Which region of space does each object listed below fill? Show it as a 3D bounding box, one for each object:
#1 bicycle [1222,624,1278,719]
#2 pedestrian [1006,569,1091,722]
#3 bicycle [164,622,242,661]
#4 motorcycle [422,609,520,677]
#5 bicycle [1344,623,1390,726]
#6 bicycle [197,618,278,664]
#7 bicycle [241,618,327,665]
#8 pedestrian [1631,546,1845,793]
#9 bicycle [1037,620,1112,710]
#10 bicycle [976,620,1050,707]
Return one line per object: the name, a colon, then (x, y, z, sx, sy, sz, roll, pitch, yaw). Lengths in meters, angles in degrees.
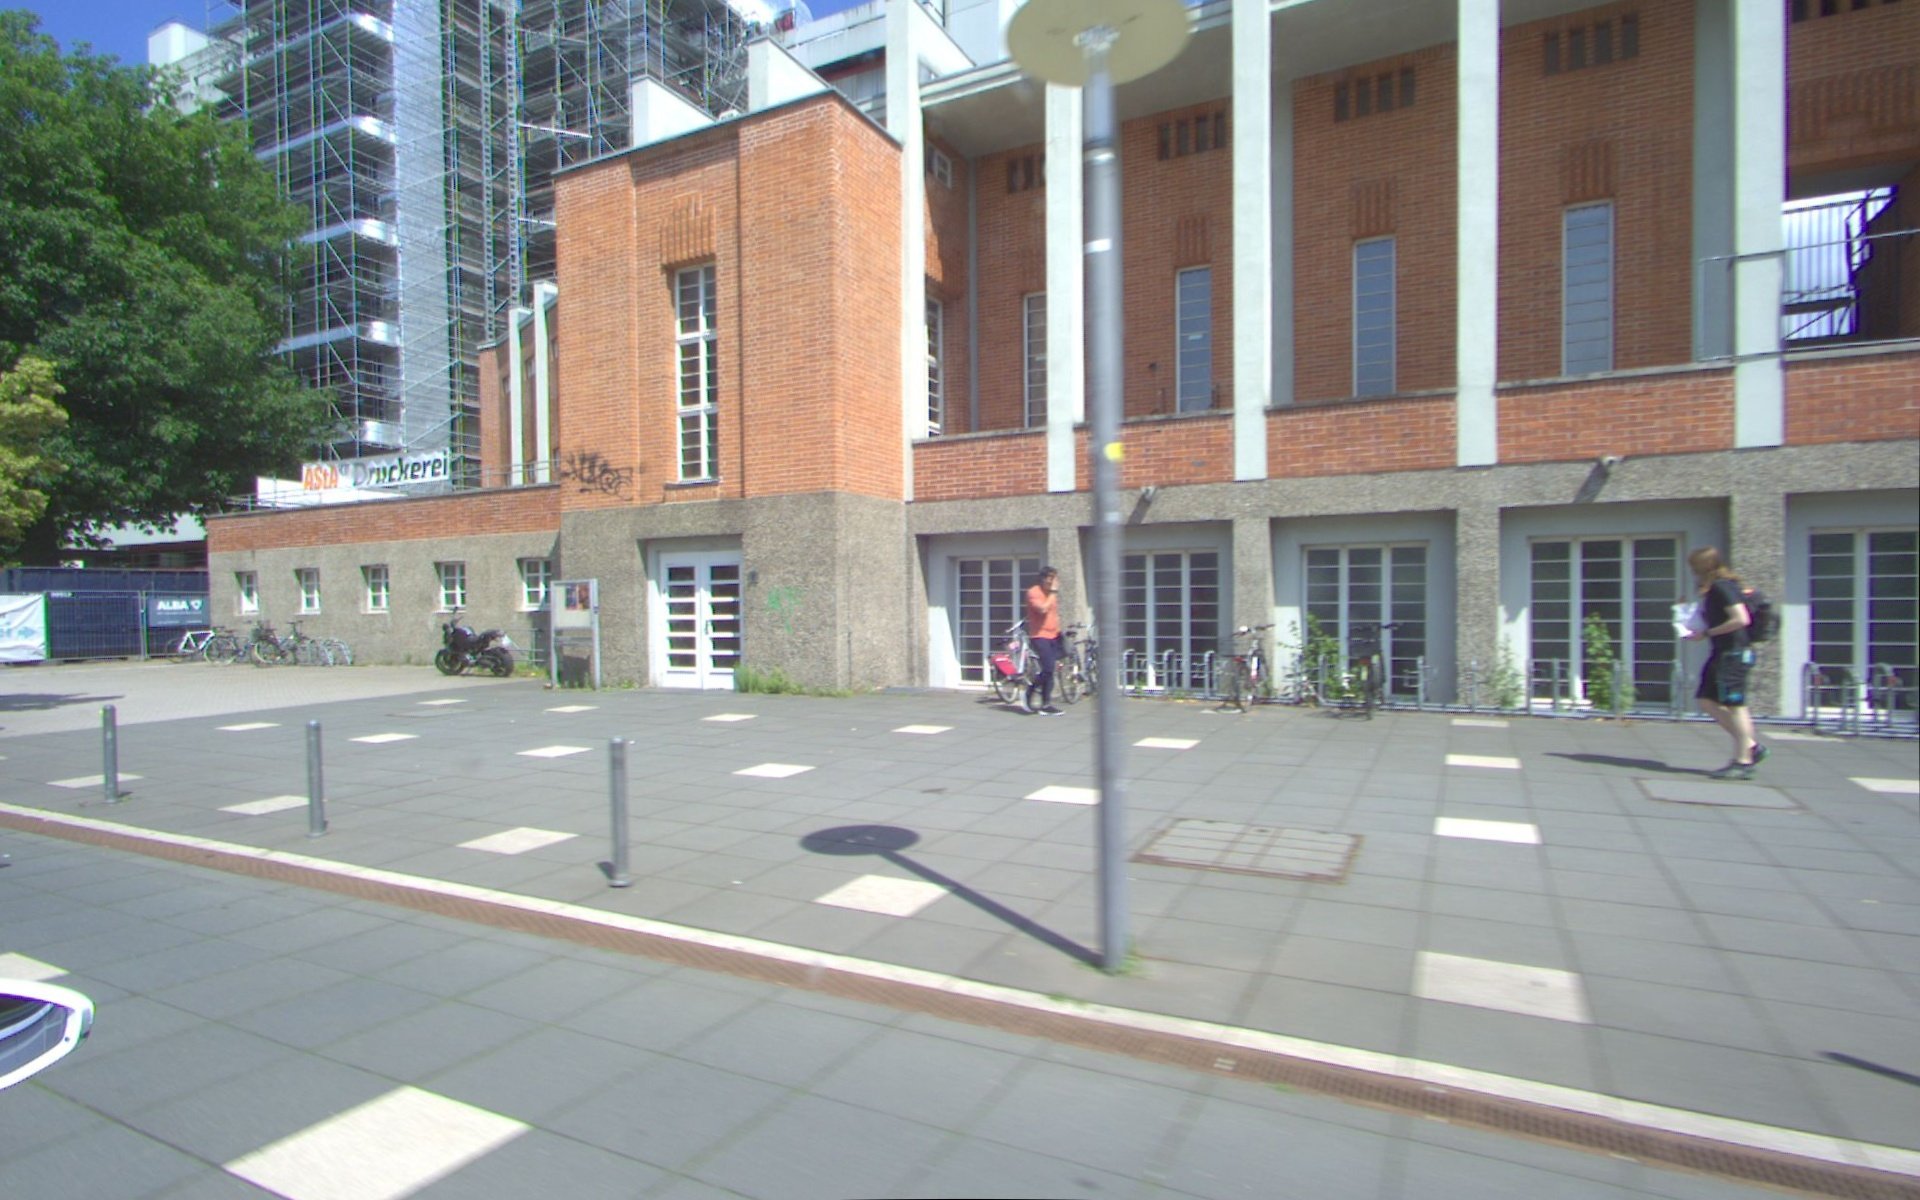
bicycle: (3.811, 0.893, 13.080, 0.428, 1.125, 1.746, 0, 0, 26)
pedestrian: (1.120, 0.557, 12.660, 0.891, 1.858, 0.663, 0, 1, 26)
bicycle: (-20.755, 1.120, 27.493, 0.441, 1.016, 1.670, 0, 0, 28)
motorcycle: (-10.028, 0.855, 20.499, 2.186, 1.341, 0.695, 0, 0, 30)
bicycle: (4.985, 0.865, 12.223, 0.428, 1.125, 1.682, 0, 0, 26)
bicycle: (-18.843, 1.055, 26.145, 0.441, 1.124, 1.700, 0, 0, 28)
bicycle: (-17.017, 1.032, 25.264, 0.441, 1.124, 1.804, 0, 0, 28)
pedestrian: (6.251, 0.526, 8.134, 1.177, 1.858, 0.844, 0, 1, 22)
bicycle: (1.650, 0.880, 14.224, 0.509, 1.165, 1.752, 0, 0, 26)
bicycle: (0.797, 0.885, 14.558, 0.428, 1.165, 1.752, 0, 0, 26)
